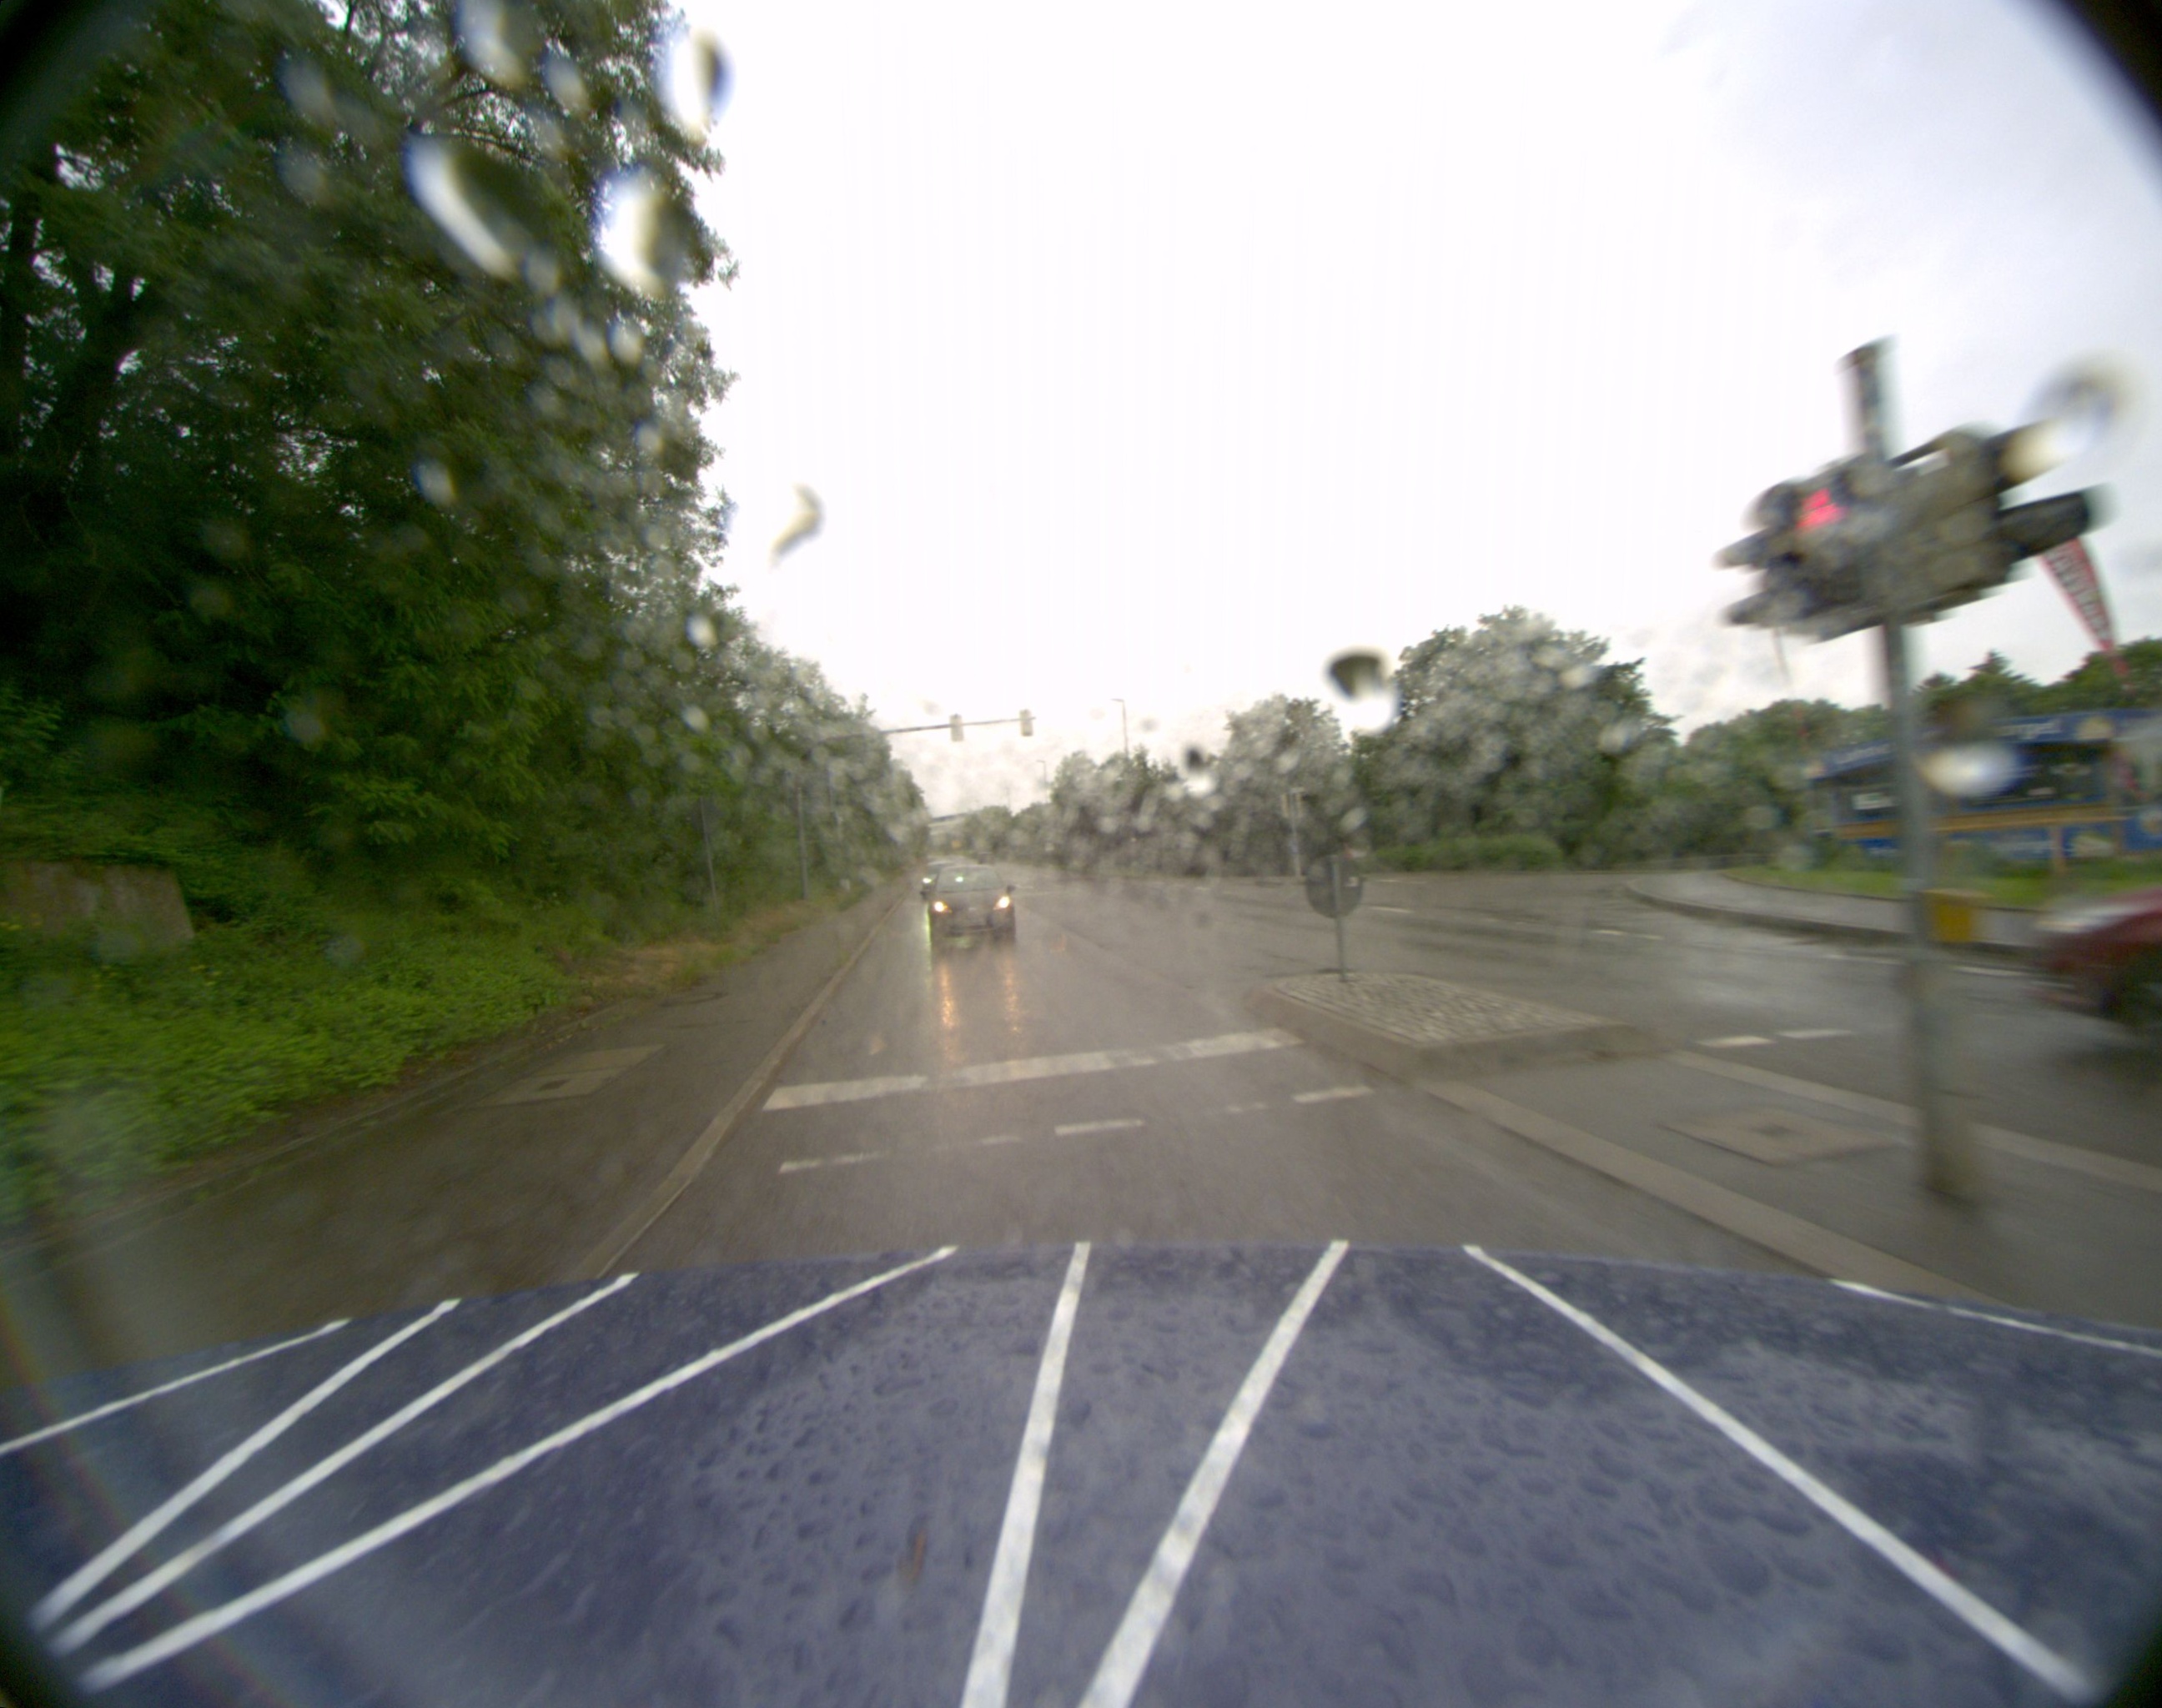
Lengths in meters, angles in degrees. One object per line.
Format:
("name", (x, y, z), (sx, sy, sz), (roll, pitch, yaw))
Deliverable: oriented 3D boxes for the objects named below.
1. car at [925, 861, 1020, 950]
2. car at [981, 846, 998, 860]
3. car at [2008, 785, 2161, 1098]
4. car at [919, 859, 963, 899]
("car", (-2.404, 0.972, 16.140), (1.683, 1.561, 3.884), (-3, 0, -12))
("car", (-10.989, -0.107, 91.320), (1.738, 1.565, 3.865), (-3, 0, -11))
("car", (7.169, 0.428, 2.609), (1.904, 1.705, 4.677), (-3, 0, -12))
("car", (-6.003, 1.028, 32.891), (1.682, 1.498, 4.150), (-3, 0, -9))
